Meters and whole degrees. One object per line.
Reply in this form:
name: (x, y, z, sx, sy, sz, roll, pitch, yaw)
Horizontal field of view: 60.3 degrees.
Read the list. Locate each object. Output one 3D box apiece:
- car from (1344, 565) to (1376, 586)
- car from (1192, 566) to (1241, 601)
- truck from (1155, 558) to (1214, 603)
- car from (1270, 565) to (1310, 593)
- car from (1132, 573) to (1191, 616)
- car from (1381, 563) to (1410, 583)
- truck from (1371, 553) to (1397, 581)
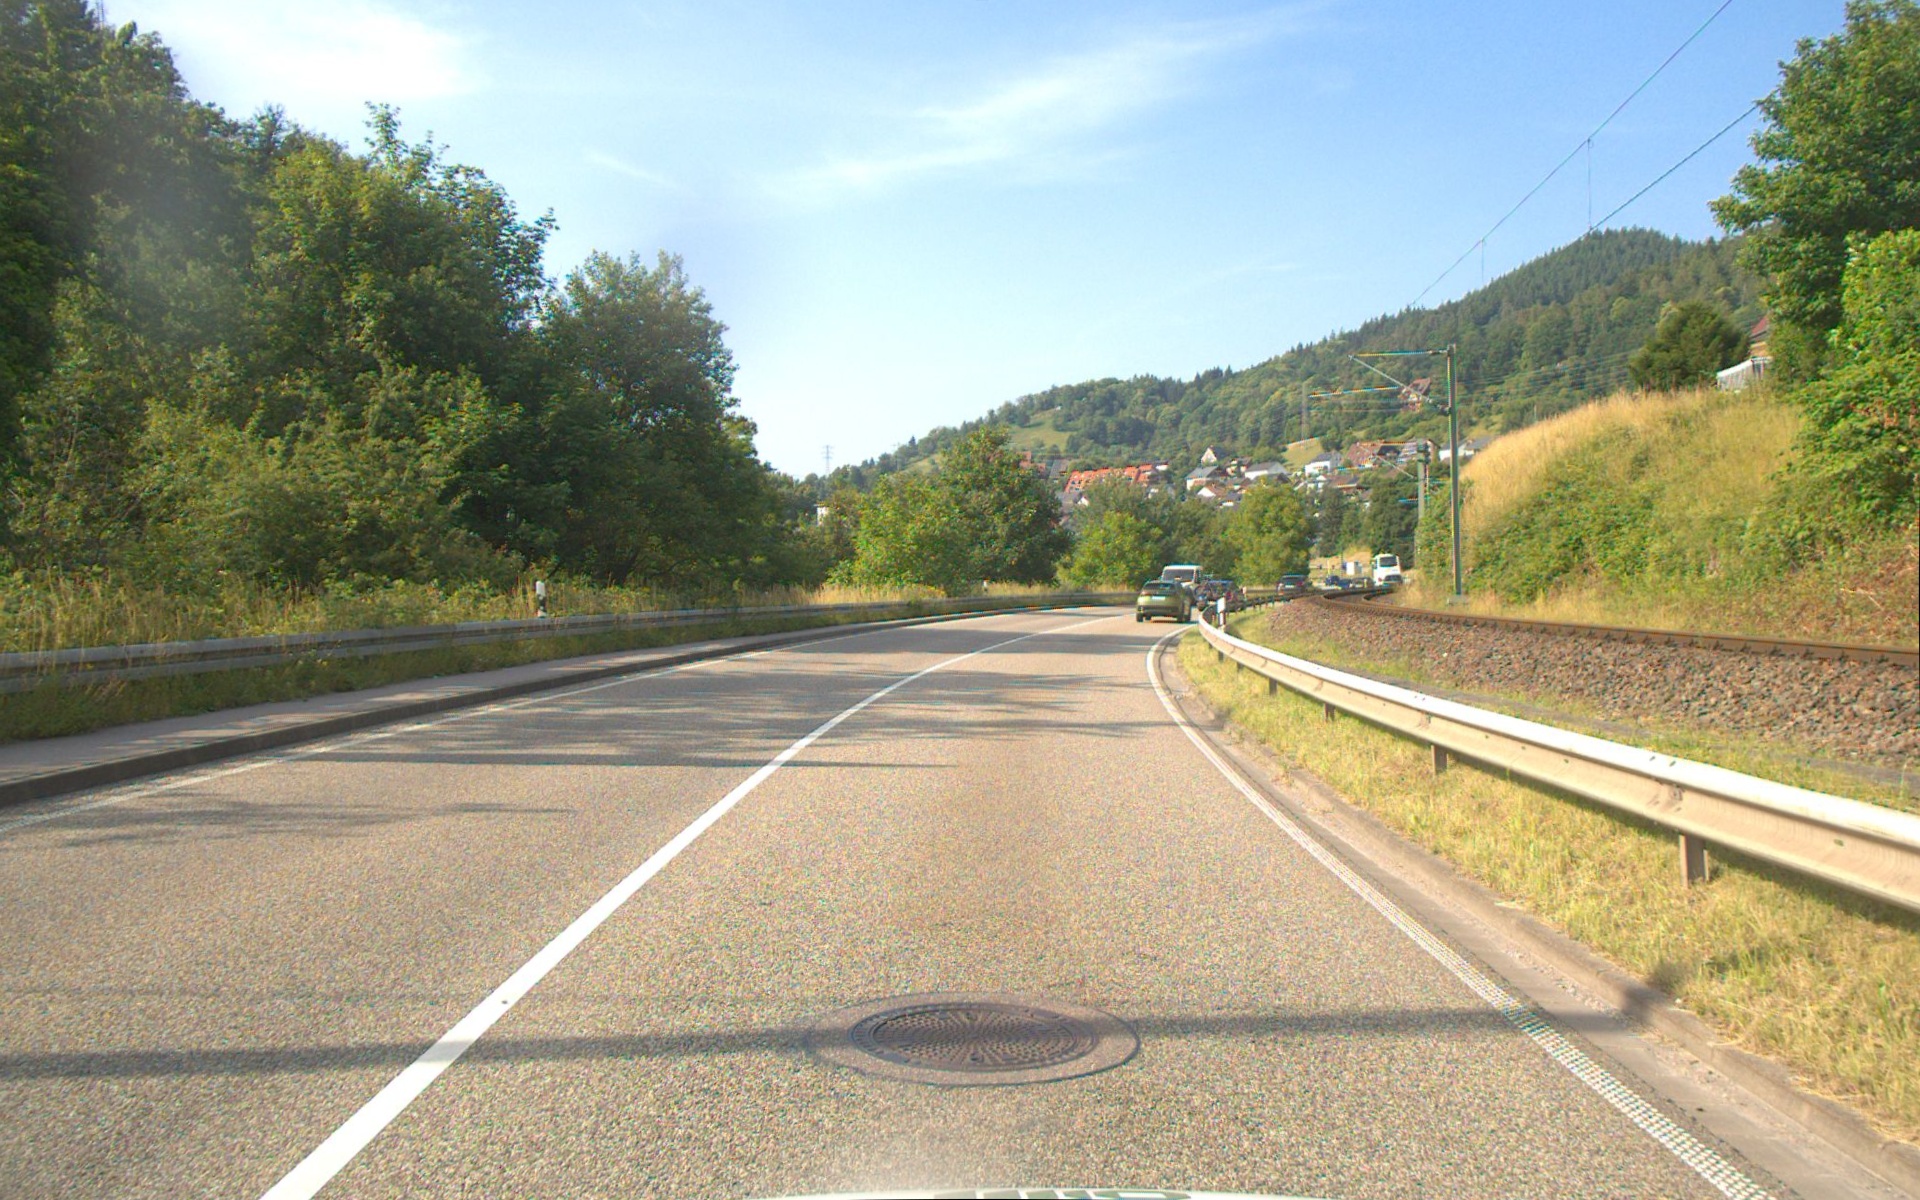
car: (30.903, -1.872, 127.698, 1.811, 1.553, 3.662, -1, 1, 22)
car: (12.112, -0.801, 77.907, 1.632, 1.586, 4.002, -1, 1, 18)
truck: (12.664, -1.093, 93.075, 2.111, 2.407, 6.750, 2, 1, 17)
car: (20.856, -1.357, 104.385, 1.841, 1.716, 4.001, -1, 1, 21)
car: (7.432, -0.238, 60.815, 1.678, 1.480, 4.004, 2, 1, 13)
car: (40.707, -2.533, 154.614, 2.021, 1.843, 3.999, -1, 1, 23)
truck: (48.048, -3.775, 187.518, 2.654, 3.137, 6.114, 1, 1, 13)
